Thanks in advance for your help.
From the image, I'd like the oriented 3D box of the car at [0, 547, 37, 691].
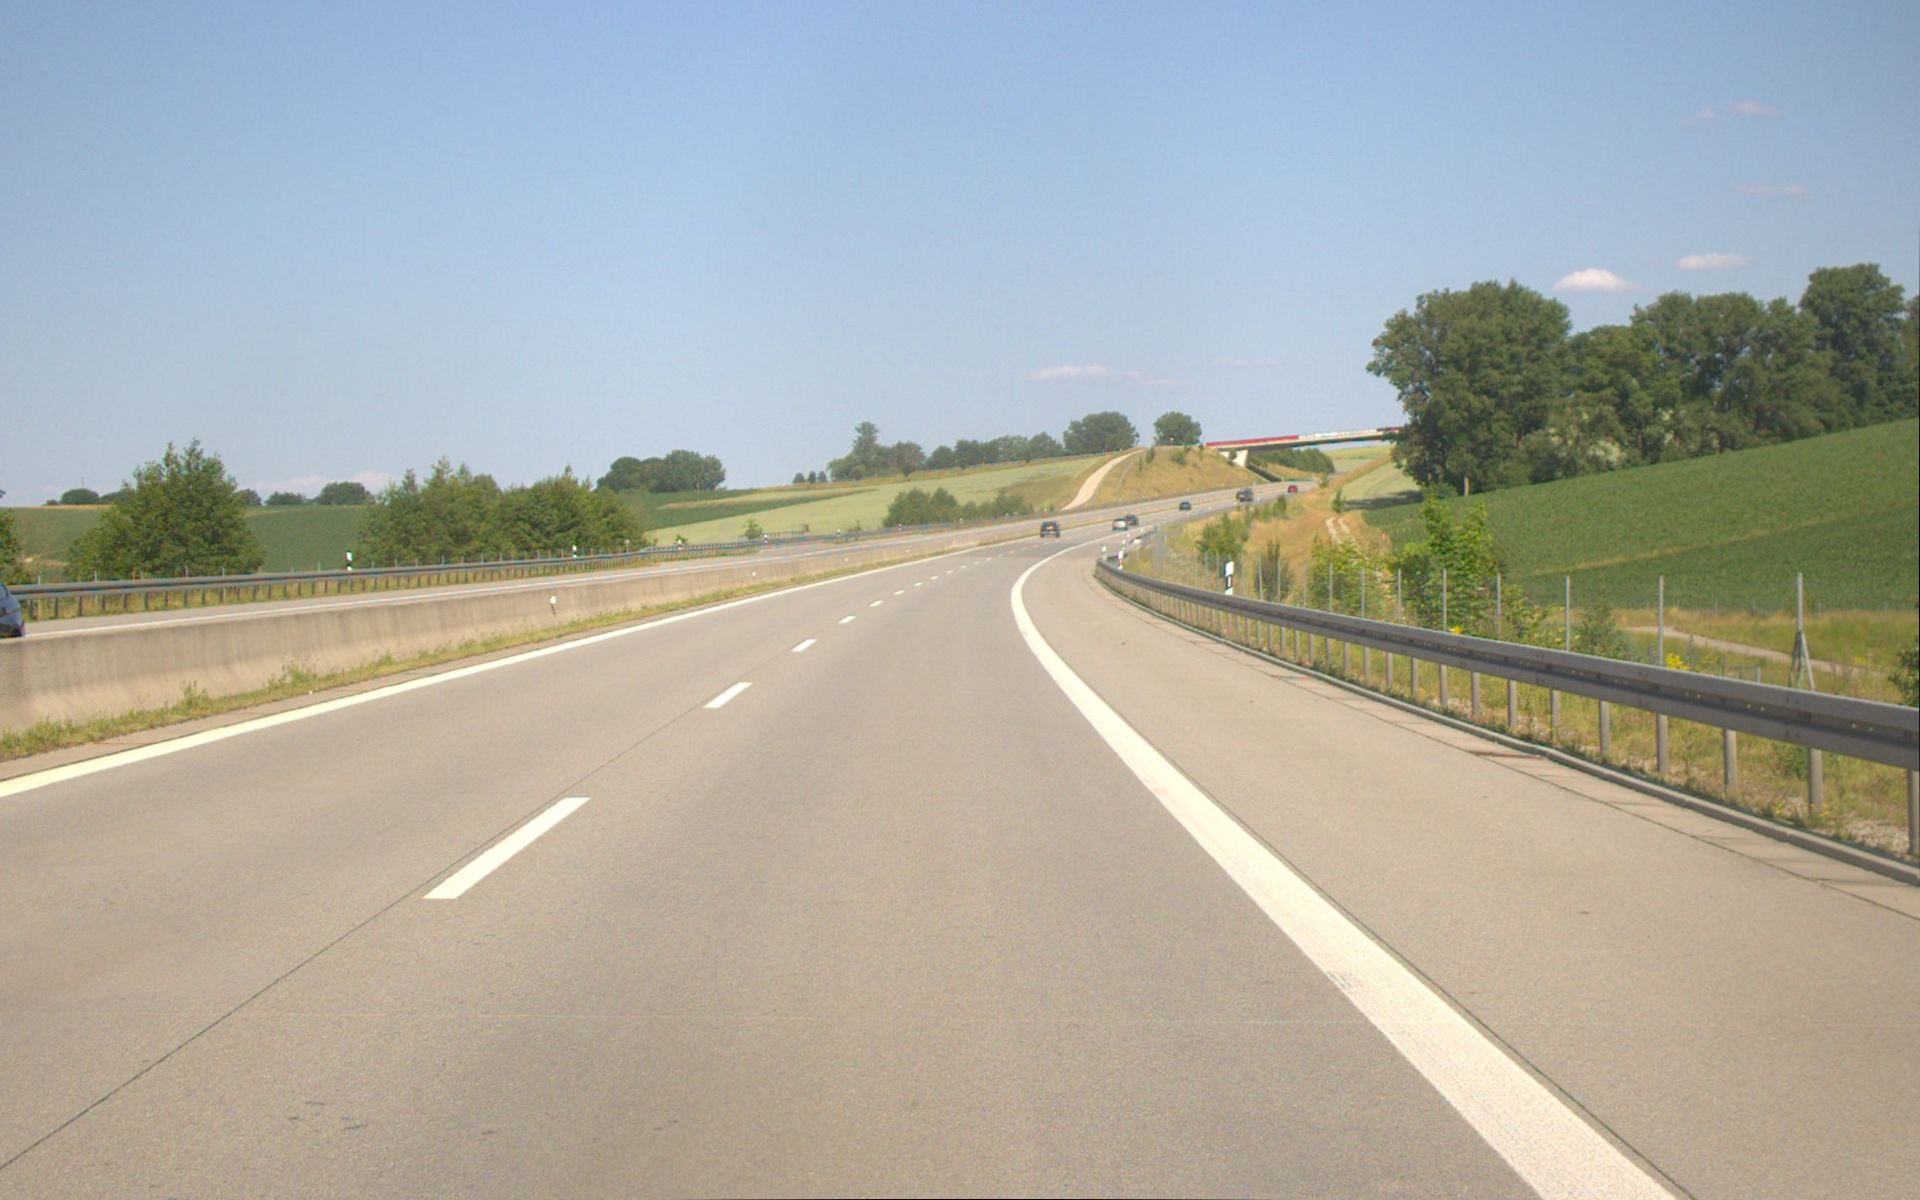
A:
[{"bbox_3d":[-11.414,0.202,37.157,1.710,1.584,4.628,1,0,-1],"label":"car"}]
